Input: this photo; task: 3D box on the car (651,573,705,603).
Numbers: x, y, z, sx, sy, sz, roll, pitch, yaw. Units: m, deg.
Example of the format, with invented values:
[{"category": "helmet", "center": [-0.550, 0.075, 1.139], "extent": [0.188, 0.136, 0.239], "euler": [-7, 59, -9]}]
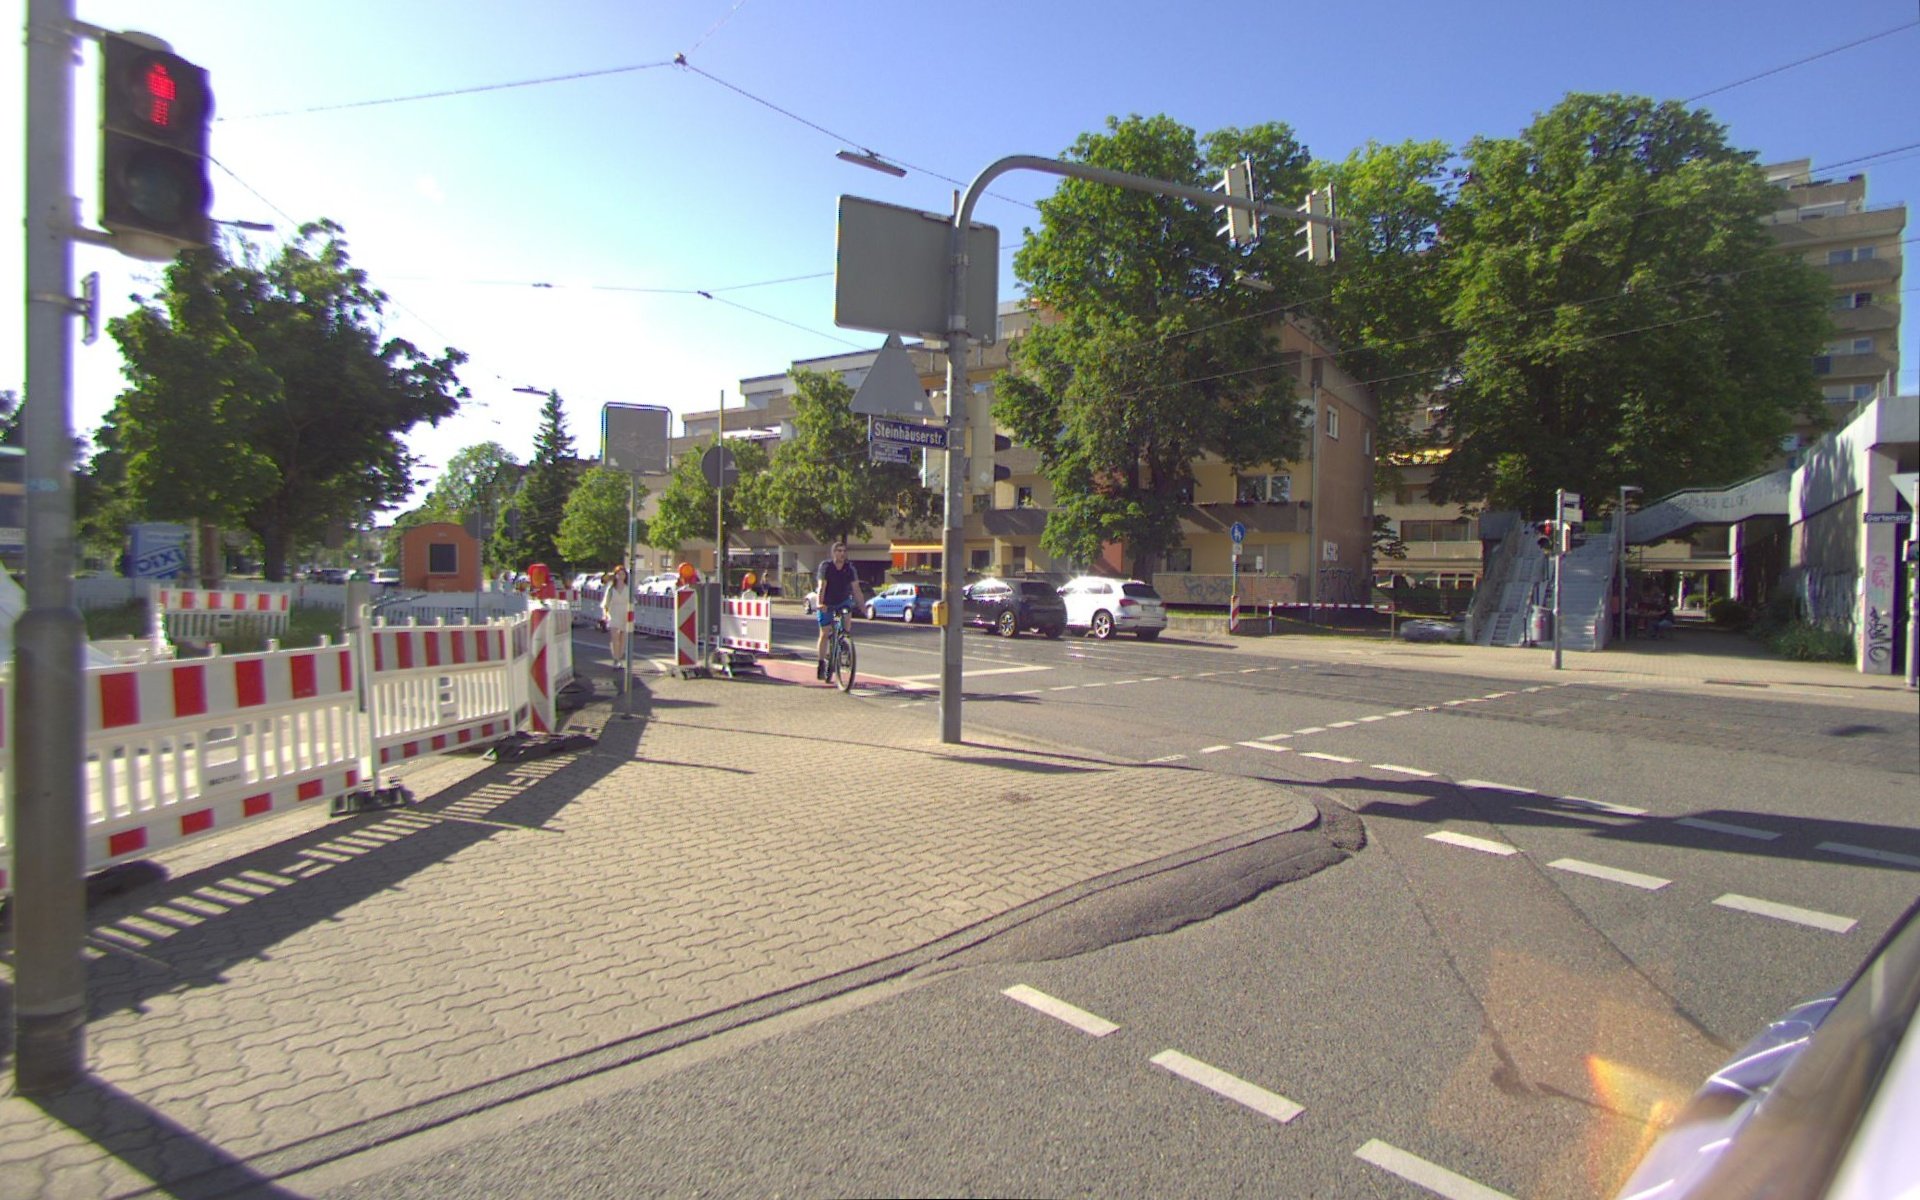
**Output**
[{"category": "car", "center": [-15.957, -0.680, 57.203], "extent": [1.776, 1.567, 3.537], "euler": [2, 1, -35]}]

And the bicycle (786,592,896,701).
[{"category": "bicycle", "center": [-1.586, 0.567, 13.228], "extent": [0.642, 1.282, 1.785], "euler": [1, 1, -34]}]

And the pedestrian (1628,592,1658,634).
[{"category": "pedestrian", "center": [21.833, 0.395, 32.368], "extent": [0.734, 1.315, 0.607], "euler": [1, 1, 29]}]

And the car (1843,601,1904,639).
[{"category": "car", "center": [41.579, 0.867, 46.135], "extent": [1.608, 1.574, 3.961], "euler": [2, 1, 36]}]

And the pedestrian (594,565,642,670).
[{"category": "pedestrian", "center": [-5.456, 0.267, 16.131], "extent": [0.622, 1.621, 0.640], "euler": [0, 1, -26]}]

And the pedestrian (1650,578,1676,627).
[{"category": "pedestrian", "center": [25.036, 0.082, 36.046], "extent": [0.652, 1.712, 0.583], "euler": [1, 1, 29]}]

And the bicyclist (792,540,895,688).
[{"category": "bicyclist", "center": [-1.539, 0.161, 13.307], "extent": [0.897, 1.853, 1.096], "euler": [1, 1, -34]}]

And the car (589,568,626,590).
[{"category": "car", "center": [-26.272, -1.542, 75.372], "extent": [1.730, 1.574, 3.695], "euler": [0, 2, -34]}]

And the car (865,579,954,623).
[{"category": "car", "center": [-1.854, 0.011, 36.479], "extent": [1.635, 1.423, 3.292], "euler": [2, 1, -37]}]

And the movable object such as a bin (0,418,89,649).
[{"category": "movable object such as a bin", "center": [-16.025, -1.000, 16.293], "extent": [2.789, 3.405, 4.698], "euler": [-1, 1, -44]}]

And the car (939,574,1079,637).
[{"category": "car", "center": [1.236, 0.104, 27.040], "extent": [1.755, 1.536, 3.753], "euler": [0, 1, -37]}]

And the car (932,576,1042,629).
[{"category": "car", "center": [0.825, 0.064, 32.952], "extent": [1.627, 1.551, 3.504], "euler": [2, 1, -40]}]

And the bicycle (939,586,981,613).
[{"category": "bicycle", "center": [-0.010, -0.034, 41.261], "extent": [0.793, 1.074, 2.196], "euler": [1, 1, -27]}]

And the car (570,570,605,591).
[{"category": "car", "center": [-29.498, -1.535, 80.106], "extent": [1.730, 1.574, 3.695], "euler": [0, 2, -33]}]

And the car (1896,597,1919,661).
[{"category": "car", "center": [25.095, 0.744, 25.197], "extent": [1.946, 1.575, 4.976], "euler": [1, 1, 35]}]

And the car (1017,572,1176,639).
[{"category": "car", "center": [3.679, 0.093, 28.033], "extent": [1.899, 1.640, 4.323], "euler": [0, 2, -35]}]

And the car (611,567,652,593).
[{"category": "car", "center": [-22.980, -1.400, 70.672], "extent": [1.775, 1.695, 3.879], "euler": [0, 1, -33]}]

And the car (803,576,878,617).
[{"category": "car", "center": [-4.796, -0.148, 40.380], "extent": [1.456, 1.479, 3.370], "euler": [2, 1, -36]}]

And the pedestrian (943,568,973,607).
[{"category": "pedestrian", "center": [-0.090, -0.508, 41.325], "extent": [0.860, 1.572, 0.935], "euler": [1, 1, -26]}]

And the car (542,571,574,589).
[{"category": "car", "center": [-33.290, -1.667, 83.816], "extent": [1.730, 1.474, 3.695], "euler": [0, 2, -33]}]

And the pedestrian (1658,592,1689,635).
[{"category": "pedestrian", "center": [22.535, 0.419, 31.971], "extent": [0.718, 1.315, 0.583], "euler": [1, 1, 29]}]

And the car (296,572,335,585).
[{"category": "car", "center": [-66.246, -2.160, 103.961], "extent": [3.277, 1.304, 1.303], "euler": [-1, 1, -39]}]

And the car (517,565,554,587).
[{"category": "car", "center": [-30.977, -1.754, 73.743], "extent": [1.775, 1.520, 3.879], "euler": [0, 2, -33]}]
